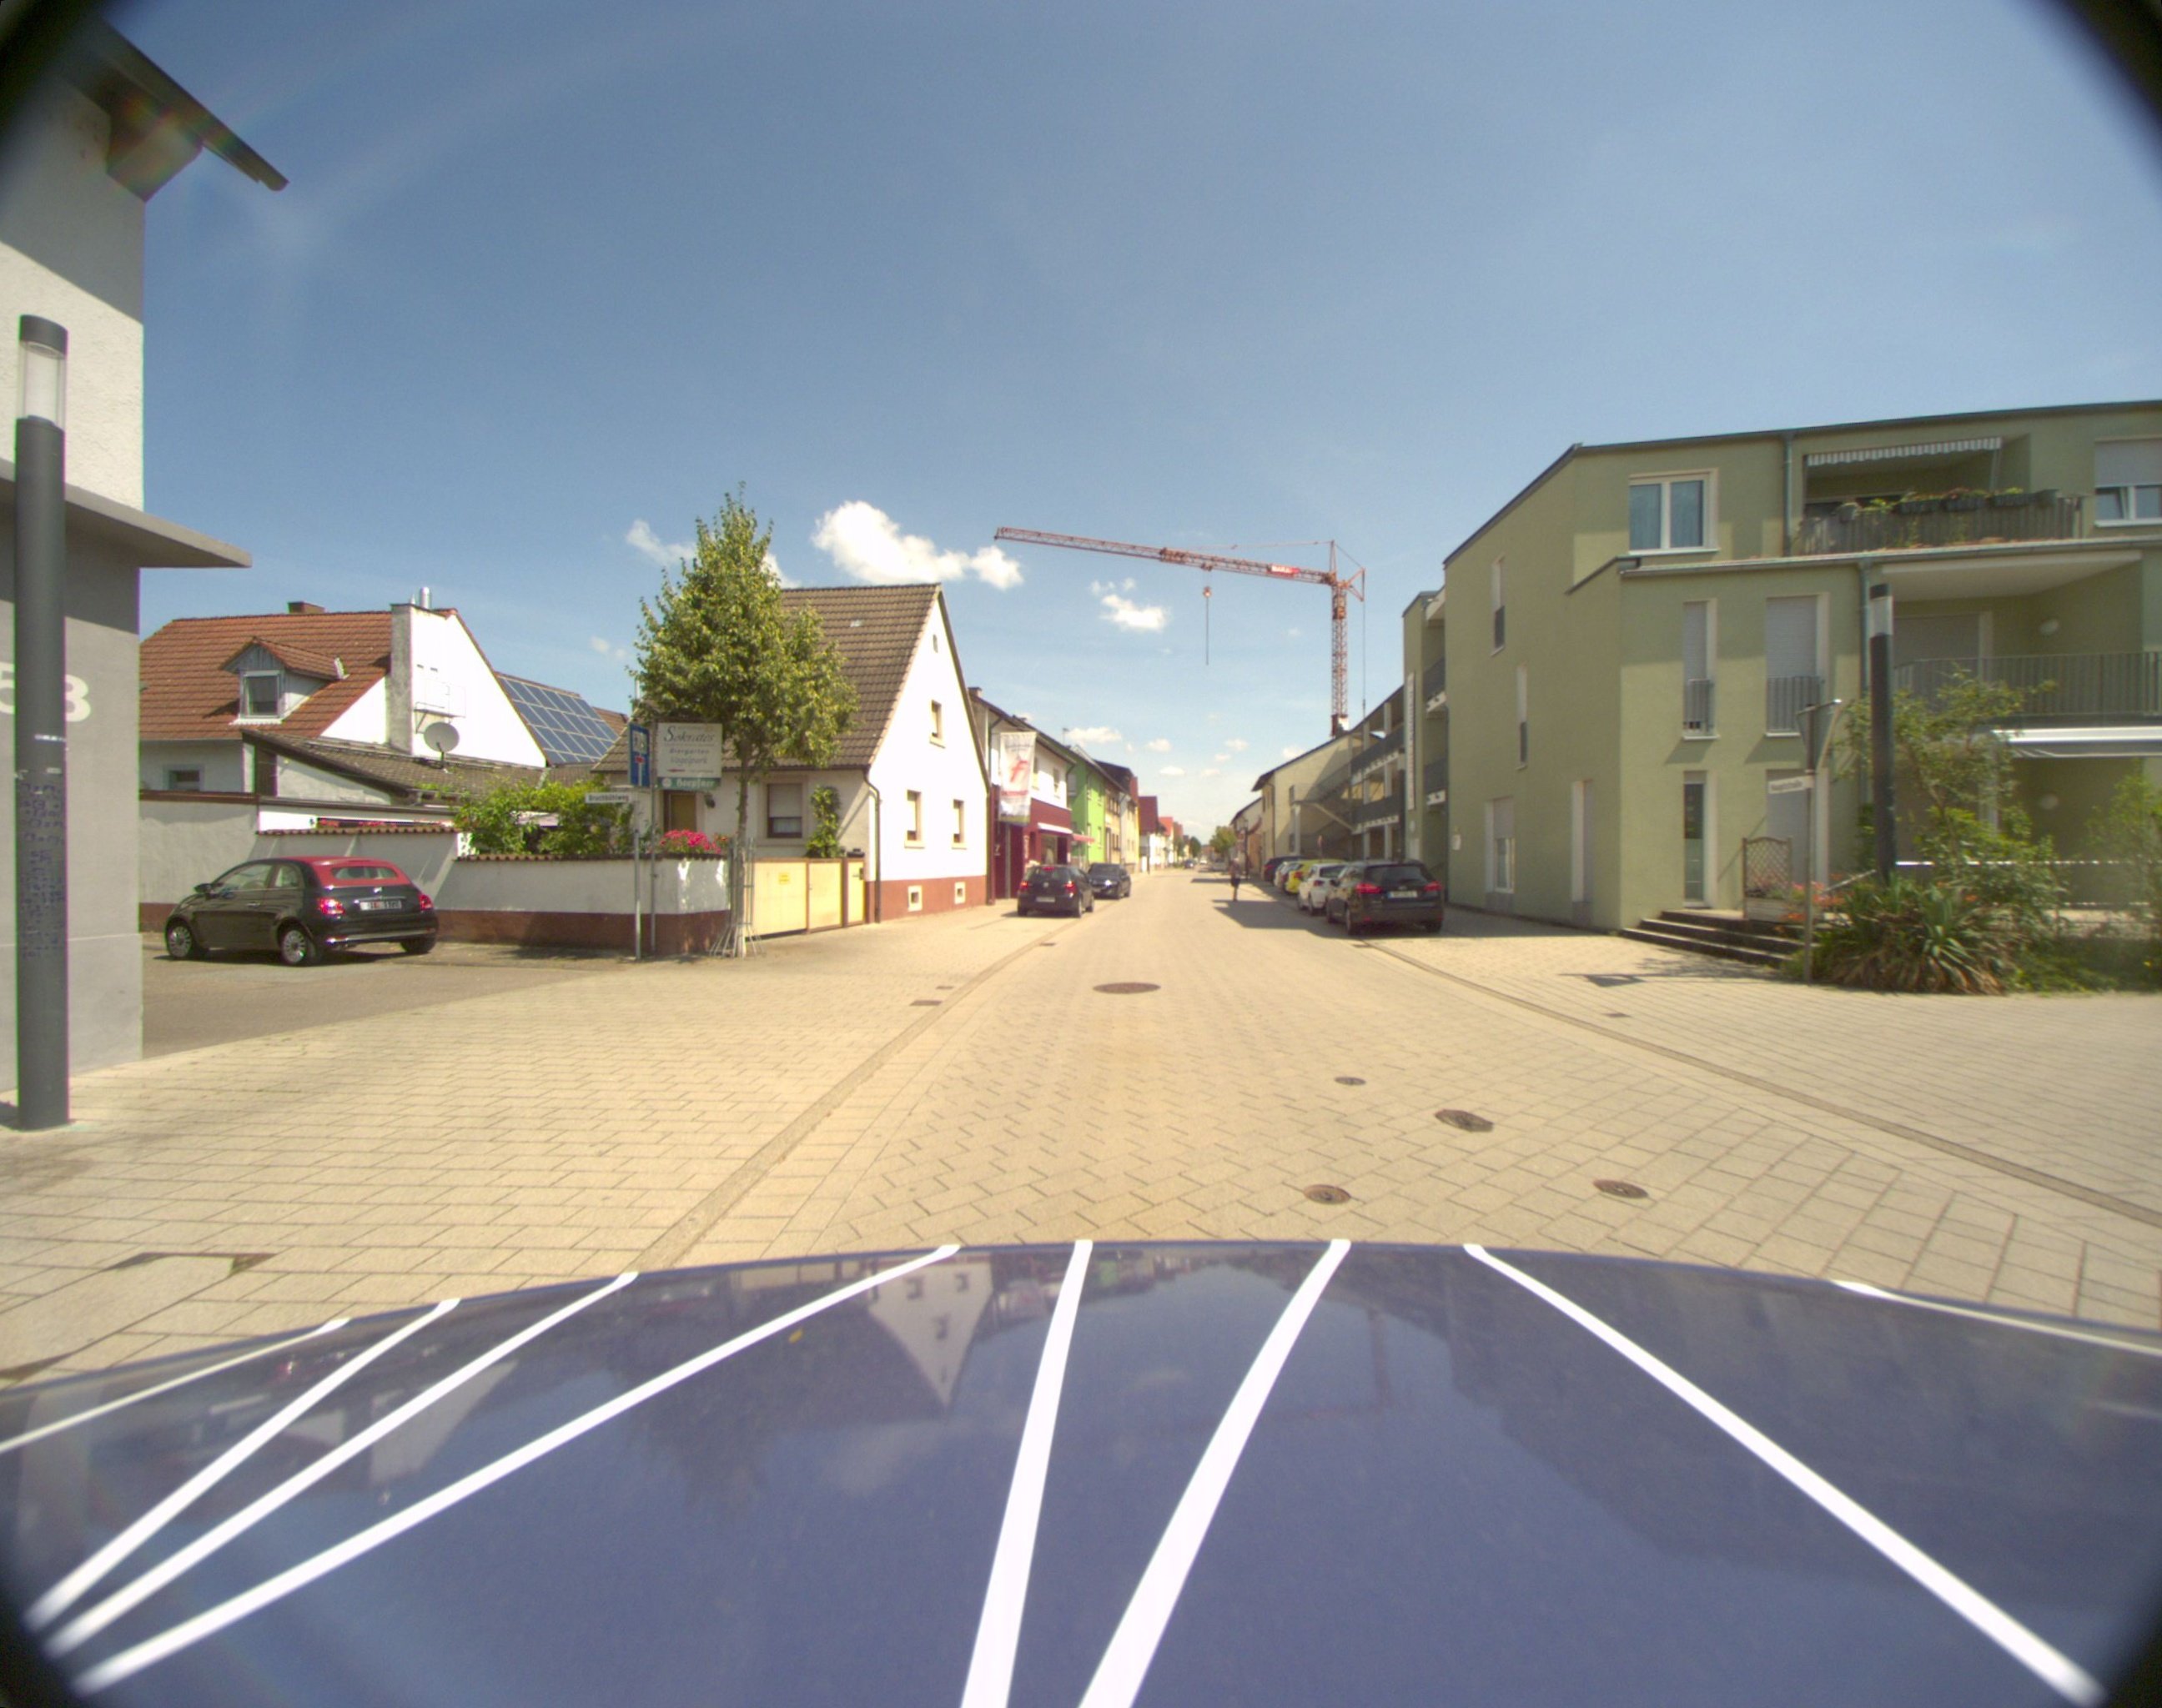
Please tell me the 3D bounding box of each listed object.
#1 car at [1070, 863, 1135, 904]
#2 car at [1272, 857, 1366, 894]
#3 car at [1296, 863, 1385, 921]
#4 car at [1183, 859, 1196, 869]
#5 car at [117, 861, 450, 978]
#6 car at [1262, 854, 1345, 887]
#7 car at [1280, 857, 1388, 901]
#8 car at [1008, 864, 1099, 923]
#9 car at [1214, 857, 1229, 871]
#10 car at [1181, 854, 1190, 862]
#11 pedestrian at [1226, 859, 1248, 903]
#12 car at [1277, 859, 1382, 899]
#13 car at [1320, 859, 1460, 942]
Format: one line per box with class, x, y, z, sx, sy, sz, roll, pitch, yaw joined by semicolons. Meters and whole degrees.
car;0.963;1.157;31.110;1.861;1.450;4.590;2;0;11
car;10.909;0.976;35.026;3.908;1.493;1.752;-3;0;11
car;7.301;1.023;21.734;1.761;1.402;3.880;-2;0;9
car;17.505;1.550;122.701;1.956;1.521;4.003;0;0;11
car;-11.662;0.872;11.192;3.807;1.510;1.681;0;0;13
car;12.352;0.899;42.485;4.226;1.648;1.786;-3;0;10
car;9.974;0.973;30.102;3.700;1.516;1.673;-3;0;4
car;-0.660;1.030;21.327;1.762;1.430;4.122;1;0;9
car;16.762;1.229;90.752;1.575;1.552;2.824;-3;0;12
car;20.700;0.766;150.653;1.725;1.420;3.821;0;0;10
pedestrian;5.906;1.015;28.675;0.747;1.630;0.732;-2;0;12
car;10.499;1.056;32.346;3.994;1.433;1.692;-3;0;9
car;6.390;0.879;16.215;1.817;1.481;4.280;-2;0;9
